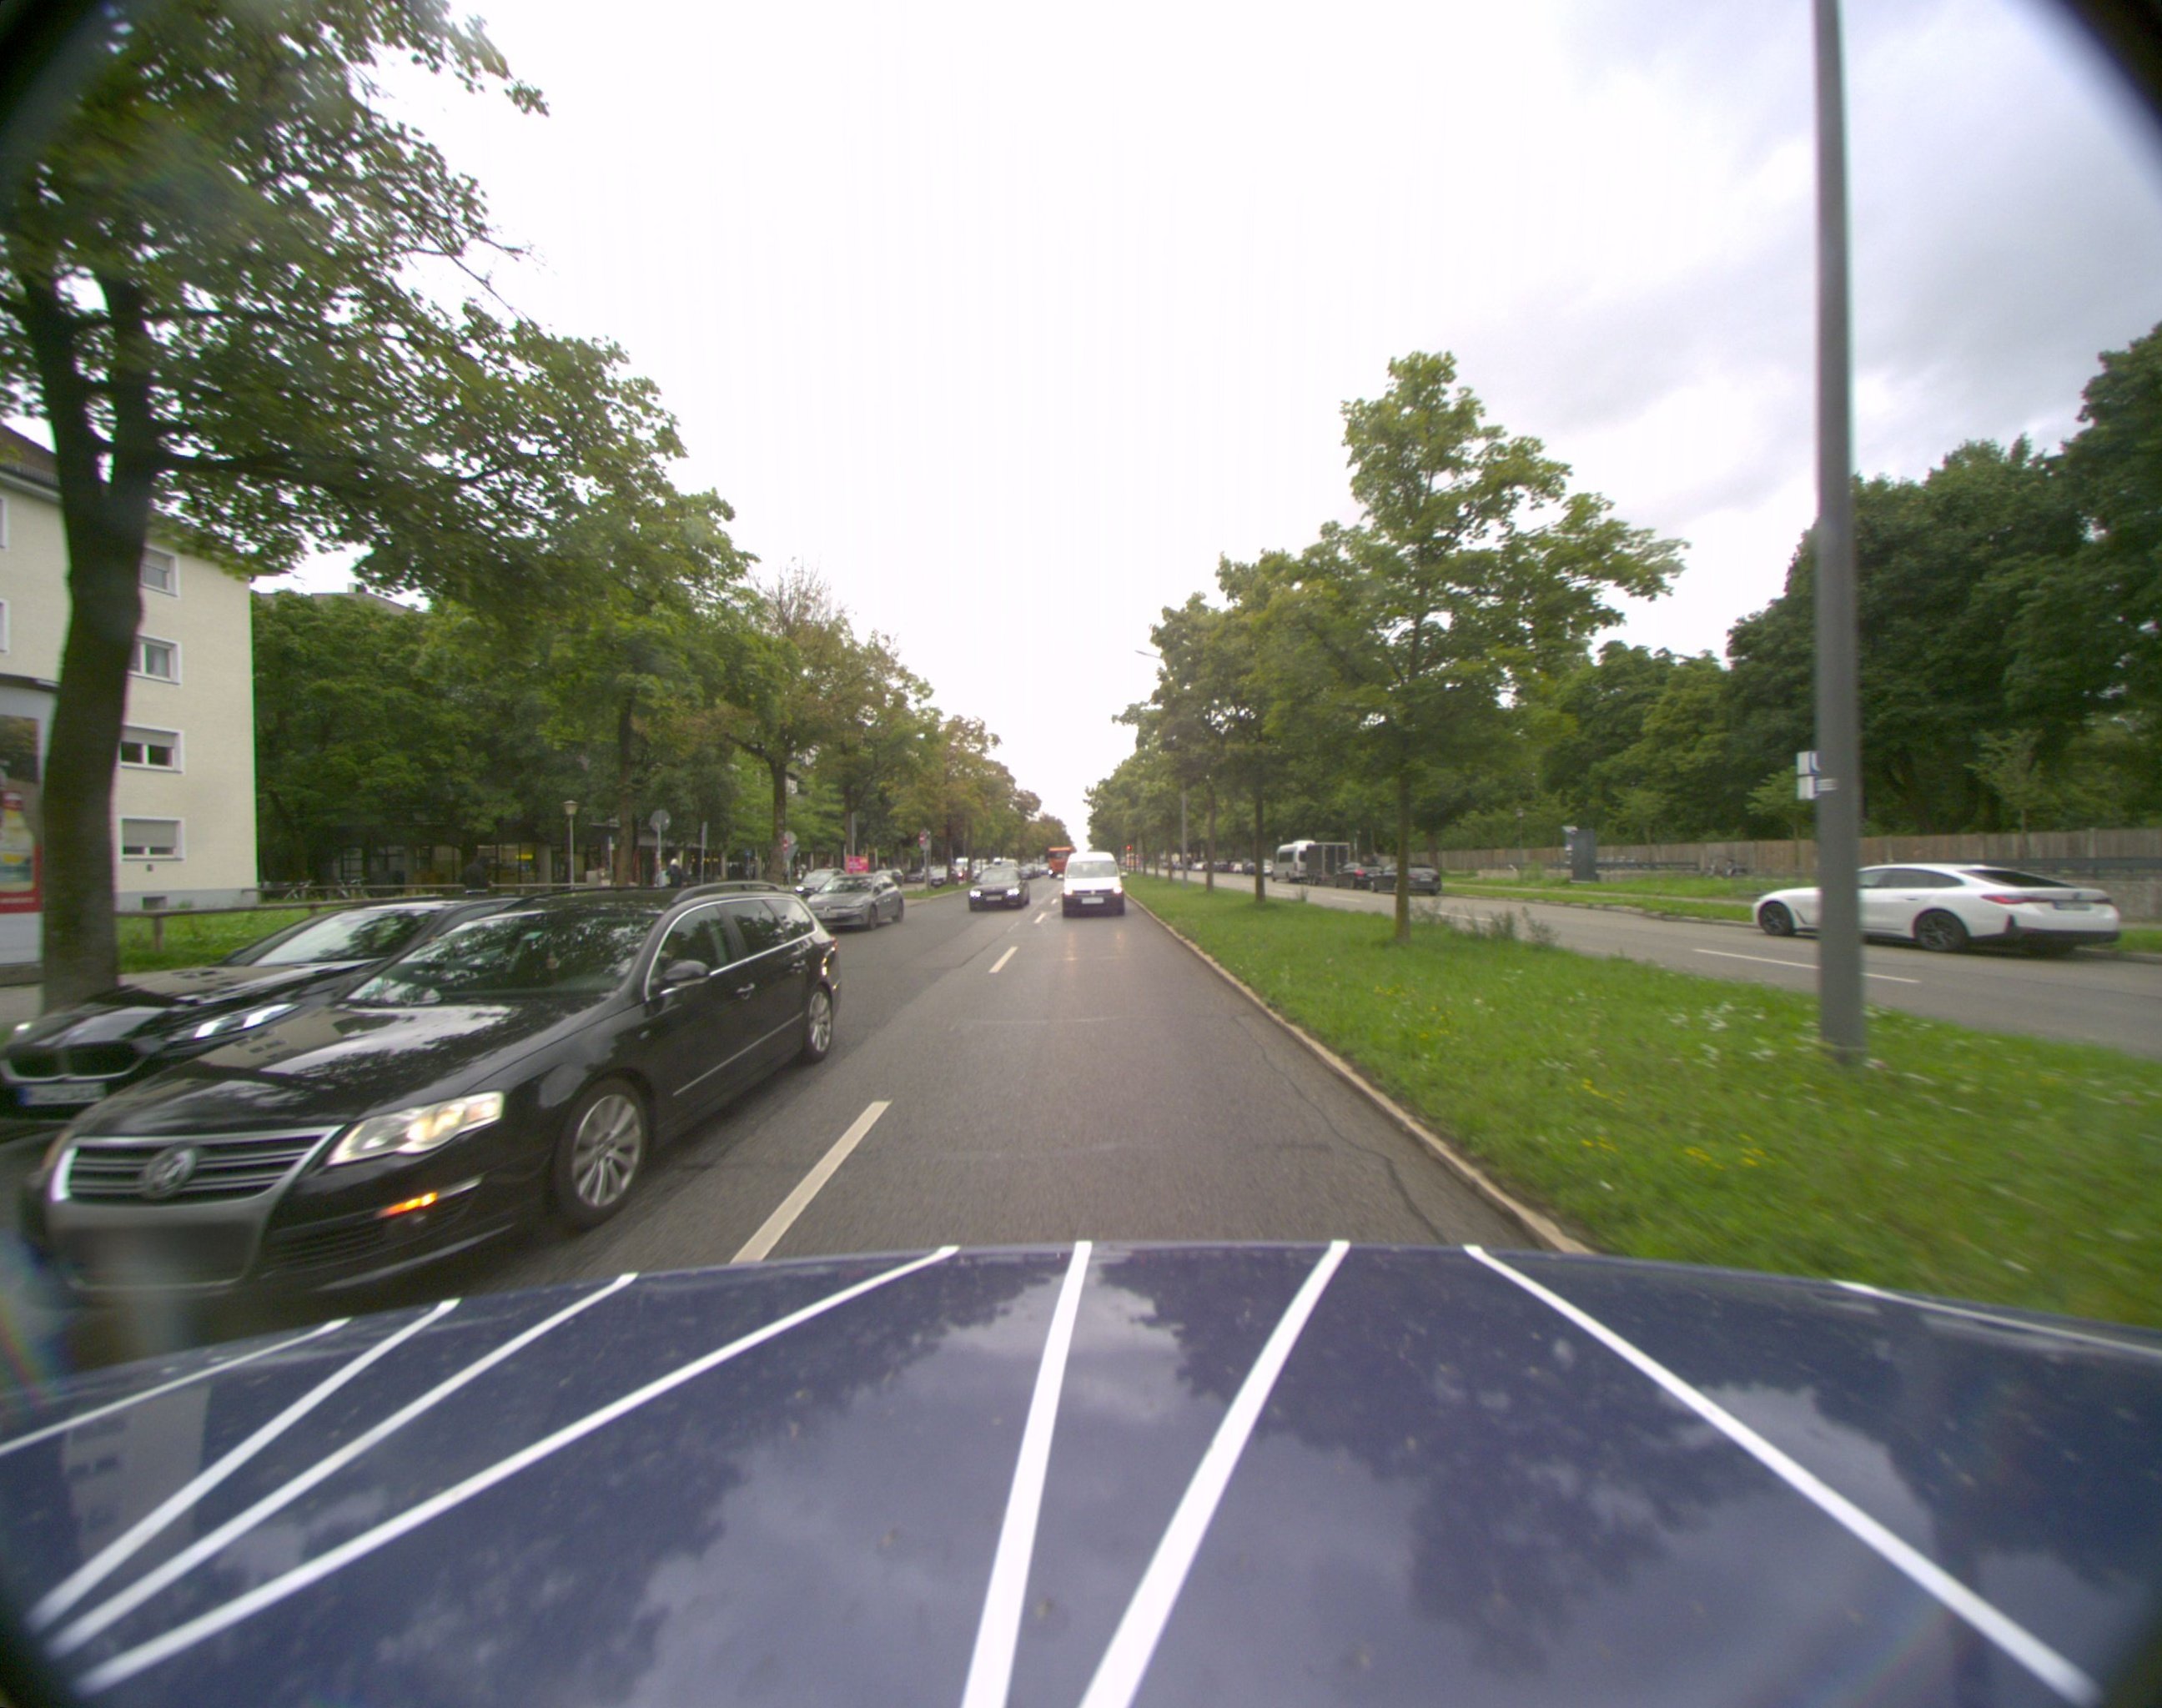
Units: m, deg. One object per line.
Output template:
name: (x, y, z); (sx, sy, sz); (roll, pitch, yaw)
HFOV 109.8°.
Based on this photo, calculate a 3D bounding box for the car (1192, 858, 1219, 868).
car: (18.973, 1.359, 115.757); (4.006, 1.357, 1.588); (-2, 0, -30)

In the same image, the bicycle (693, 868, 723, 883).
bicycle: (-28.428, 1.636, 57.949); (2.080, 1.113, 0.455); (-1, 0, 1)

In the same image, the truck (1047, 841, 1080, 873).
truck: (-1.783, 0.306, 82.300); (3.046, 3.170, 9.133); (-2, 0, 1)

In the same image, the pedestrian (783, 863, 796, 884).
pedestrian: (-21.433, 1.429, 55.871); (0.659, 1.533, 0.633); (2, 1, 31)

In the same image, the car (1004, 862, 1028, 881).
car: (-5.585, 1.495, 65.618); (1.701, 1.440, 4.041); (-3, 0, -1)

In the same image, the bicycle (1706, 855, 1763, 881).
bicycle: (25.322, 0.529, 29.438); (1.824, 0.924, 0.433); (-2, 0, 0)

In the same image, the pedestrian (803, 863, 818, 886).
pedestrian: (-18.603, 1.386, 52.213); (0.657, 1.584, 0.755); (0, 0, 19)

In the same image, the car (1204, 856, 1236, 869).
car: (18.971, 1.172, 103.483); (4.006, 1.548, 1.887); (-3, -1, -32)

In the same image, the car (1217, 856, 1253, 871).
car: (19.097, 1.159, 94.329); (4.005, 1.548, 1.888); (-3, -1, -27)

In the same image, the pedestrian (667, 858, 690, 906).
pedestrian: (-14.977, 1.033, 28.281); (0.642, 1.720, 0.599); (-2, 1, -34)

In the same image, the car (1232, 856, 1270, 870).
car: (19.785, 1.069, 88.284); (4.005, 1.454, 1.888); (-3, -1, -27)

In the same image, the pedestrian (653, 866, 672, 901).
pedestrian: (-19.505, 1.362, 35.408); (0.581, 1.565, 0.779); (-3, 1, -40)

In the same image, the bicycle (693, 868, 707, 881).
bicycle: (-32.544, 1.737, 64.842); (0.455, 1.113, 1.554); (-1, 0, -3)

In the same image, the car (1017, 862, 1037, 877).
car: (-5.374, 1.562, 75.551); (1.686, 1.367, 4.081); (-3, 0, -1)

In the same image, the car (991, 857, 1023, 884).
car: (-5.686, 1.262, 59.196); (1.886, 1.916, 4.933); (-3, 0, 1)

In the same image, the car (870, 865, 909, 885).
car: (-15.455, 1.648, 61.483); (1.826, 1.522, 4.603); (0, 0, 2)

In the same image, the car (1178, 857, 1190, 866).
car: (18.058, 1.382, 133.558); (1.889, 1.435, 4.170); (-2, 0, 5)

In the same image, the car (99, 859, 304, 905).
car: (-41.497, 1.285, 36.059); (6.114, 2.041, 2.342); (0, 0, -14)

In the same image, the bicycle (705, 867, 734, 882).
bicycle: (-28.687, 1.625, 60.359); (2.080, 1.113, 0.455); (-1, 0, 1)

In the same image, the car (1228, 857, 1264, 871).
car: (19.875, 1.156, 91.332); (4.005, 1.446, 1.737); (-3, -1, -27)

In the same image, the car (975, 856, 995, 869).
car: (-15.184, 1.325, 120.289); (2.268, 2.091, 5.858); (-1, 0, 1)

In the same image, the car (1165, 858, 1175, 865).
car: (18.575, 1.526, 159.458); (1.889, 1.435, 4.170); (-2, 0, 5)

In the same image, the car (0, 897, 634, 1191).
car: (-6.023, 1.237, 6.514); (1.755, 1.457, 4.177); (-3, 0, 2)

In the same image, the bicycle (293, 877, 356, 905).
bicycle: (-26.922, 1.322, 27.056); (1.696, 0.965, 0.455); (-1, 0, -3)

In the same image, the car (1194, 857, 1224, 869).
car: (18.963, 1.271, 112.497); (4.006, 1.548, 1.887); (-3, -1, -32)

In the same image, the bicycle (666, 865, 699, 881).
bicycle: (-28.851, 1.348, 55.013); (2.080, 1.113, 0.455); (-1, 0, 1)

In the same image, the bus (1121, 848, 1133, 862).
bus: (11.457, 0.249, 189.892); (2.676, 3.279, 11.926); (1, 0, 1)

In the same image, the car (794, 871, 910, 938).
car: (-6.008, 1.271, 20.441); (1.686, 1.457, 4.115); (-3, 0, 2)

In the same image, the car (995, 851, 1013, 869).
car: (-12.251, 0.974, 121.086); (1.978, 2.641, 6.006); (-3, 0, 0)

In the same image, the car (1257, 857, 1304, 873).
car: (19.008, 1.040, 72.355); (4.331, 1.430, 1.797); (-2, 0, -33)

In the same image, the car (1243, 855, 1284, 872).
car: (18.965, 1.006, 78.944); (4.006, 1.477, 1.797); (-3, -1, -34)

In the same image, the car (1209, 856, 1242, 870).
car: (19.113, 1.199, 100.553); (4.006, 1.548, 1.887); (-3, -1, -32)

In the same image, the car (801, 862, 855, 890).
car: (-15.811, 1.331, 47.685); (1.826, 1.624, 4.199); (0, 0, 3)

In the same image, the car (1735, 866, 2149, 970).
car: (14.718, 0.975, 13.569); (1.861, 1.464, 4.875); (0, 0, 0)

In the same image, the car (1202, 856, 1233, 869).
car: (19.244, 1.218, 106.955); (4.006, 1.548, 1.887); (-3, -1, -32)

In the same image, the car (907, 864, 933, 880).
car: (-15.669, 1.746, 74.130); (1.827, 1.521, 4.601); (0, -1, -3)

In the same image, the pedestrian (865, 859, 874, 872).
pedestrian: (-26.830, 1.432, 96.428); (0.872, 1.689, 0.771); (0, 1, 15)

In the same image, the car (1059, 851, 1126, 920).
car: (0.303, 0.880, 23.014); (1.750, 1.807, 4.667); (-3, 0, 0)

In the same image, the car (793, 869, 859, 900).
car: (-13.020, 1.529, 39.052); (1.726, 1.371, 4.352); (-2, 0, 2)

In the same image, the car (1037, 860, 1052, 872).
car: (-4.967, 1.652, 103.806); (1.735, 1.498, 4.442); (-3, 0, 0)

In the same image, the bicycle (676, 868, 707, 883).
bicycle: (-29.164, 1.610, 56.896); (2.080, 1.113, 0.455); (-1, 0, 1)

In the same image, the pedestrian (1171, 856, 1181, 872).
pedestrian: (10.100, 1.033, 80.894); (0.872, 1.689, 0.771); (0, 1, 21)

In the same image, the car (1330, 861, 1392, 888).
car: (15.029, 1.069, 40.997); (1.804, 1.376, 4.238); (0, 0, 1)

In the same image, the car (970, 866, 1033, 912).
car: (-2.777, 1.212, 27.443); (1.763, 1.405, 4.462); (-3, 0, 0)

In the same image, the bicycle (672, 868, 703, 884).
bicycle: (-28.945, 1.610, 55.902); (2.080, 1.113, 0.455); (-1, 0, 1)

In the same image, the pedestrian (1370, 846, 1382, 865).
pedestrian: (27.528, 0.096, 70.923); (0.770, 1.757, 0.874); (0, 0, -3)

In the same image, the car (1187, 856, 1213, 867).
car: (19.181, 1.193, 122.375); (4.006, 1.718, 1.777); (-2, 0, -33)

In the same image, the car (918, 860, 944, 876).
car: (-15.673, 1.448, 79.789); (1.826, 1.624, 4.500); (0, 0, 0)

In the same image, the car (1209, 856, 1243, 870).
car: (18.484, 1.176, 96.902); (4.006, 1.548, 1.887); (-3, -1, -32)

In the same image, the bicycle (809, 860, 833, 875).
bicycle: (-28.011, 1.460, 81.866); (2.313, 1.523, 0.649); (-1, 0, 1)

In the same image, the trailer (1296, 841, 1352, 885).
trailer: (14.894, 0.520, 46.814); (2.022, 2.575, 4.659); (0, 0, 1)

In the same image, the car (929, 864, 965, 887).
car: (-9.678, 1.538, 55.260); (1.732, 1.424, 4.691); (-2, 0, 0)

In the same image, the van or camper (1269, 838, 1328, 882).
van or camper: (14.993, 0.429, 52.869); (2.040, 2.821, 7.547); (0, 0, 1)

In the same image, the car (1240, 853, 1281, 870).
car: (19.386, 0.797, 81.988); (4.005, 1.577, 1.798); (-3, -1, -28)

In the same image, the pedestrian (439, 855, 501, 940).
pedestrian: (-12.924, 0.900, 16.087); (0.641, 1.739, 0.849); (1, 0, -4)

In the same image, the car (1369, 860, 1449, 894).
car: (14.767, 1.010, 34.474); (1.804, 1.417, 4.431); (0, 0, 1)

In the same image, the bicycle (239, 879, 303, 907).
bicycle: (-28.706, 1.379, 26.933); (1.696, 0.965, 0.455); (-1, 0, -3)

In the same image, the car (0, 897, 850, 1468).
car: (-2.956, 1.117, 4.478); (1.735, 1.424, 4.442); (-3, 0, 1)

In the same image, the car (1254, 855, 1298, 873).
car: (19.535, 0.986, 76.010); (4.331, 1.564, 1.797); (-2, 0, -33)

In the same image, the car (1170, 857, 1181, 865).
car: (18.129, 1.368, 145.443); (1.889, 1.435, 4.170); (-2, 0, 5)
